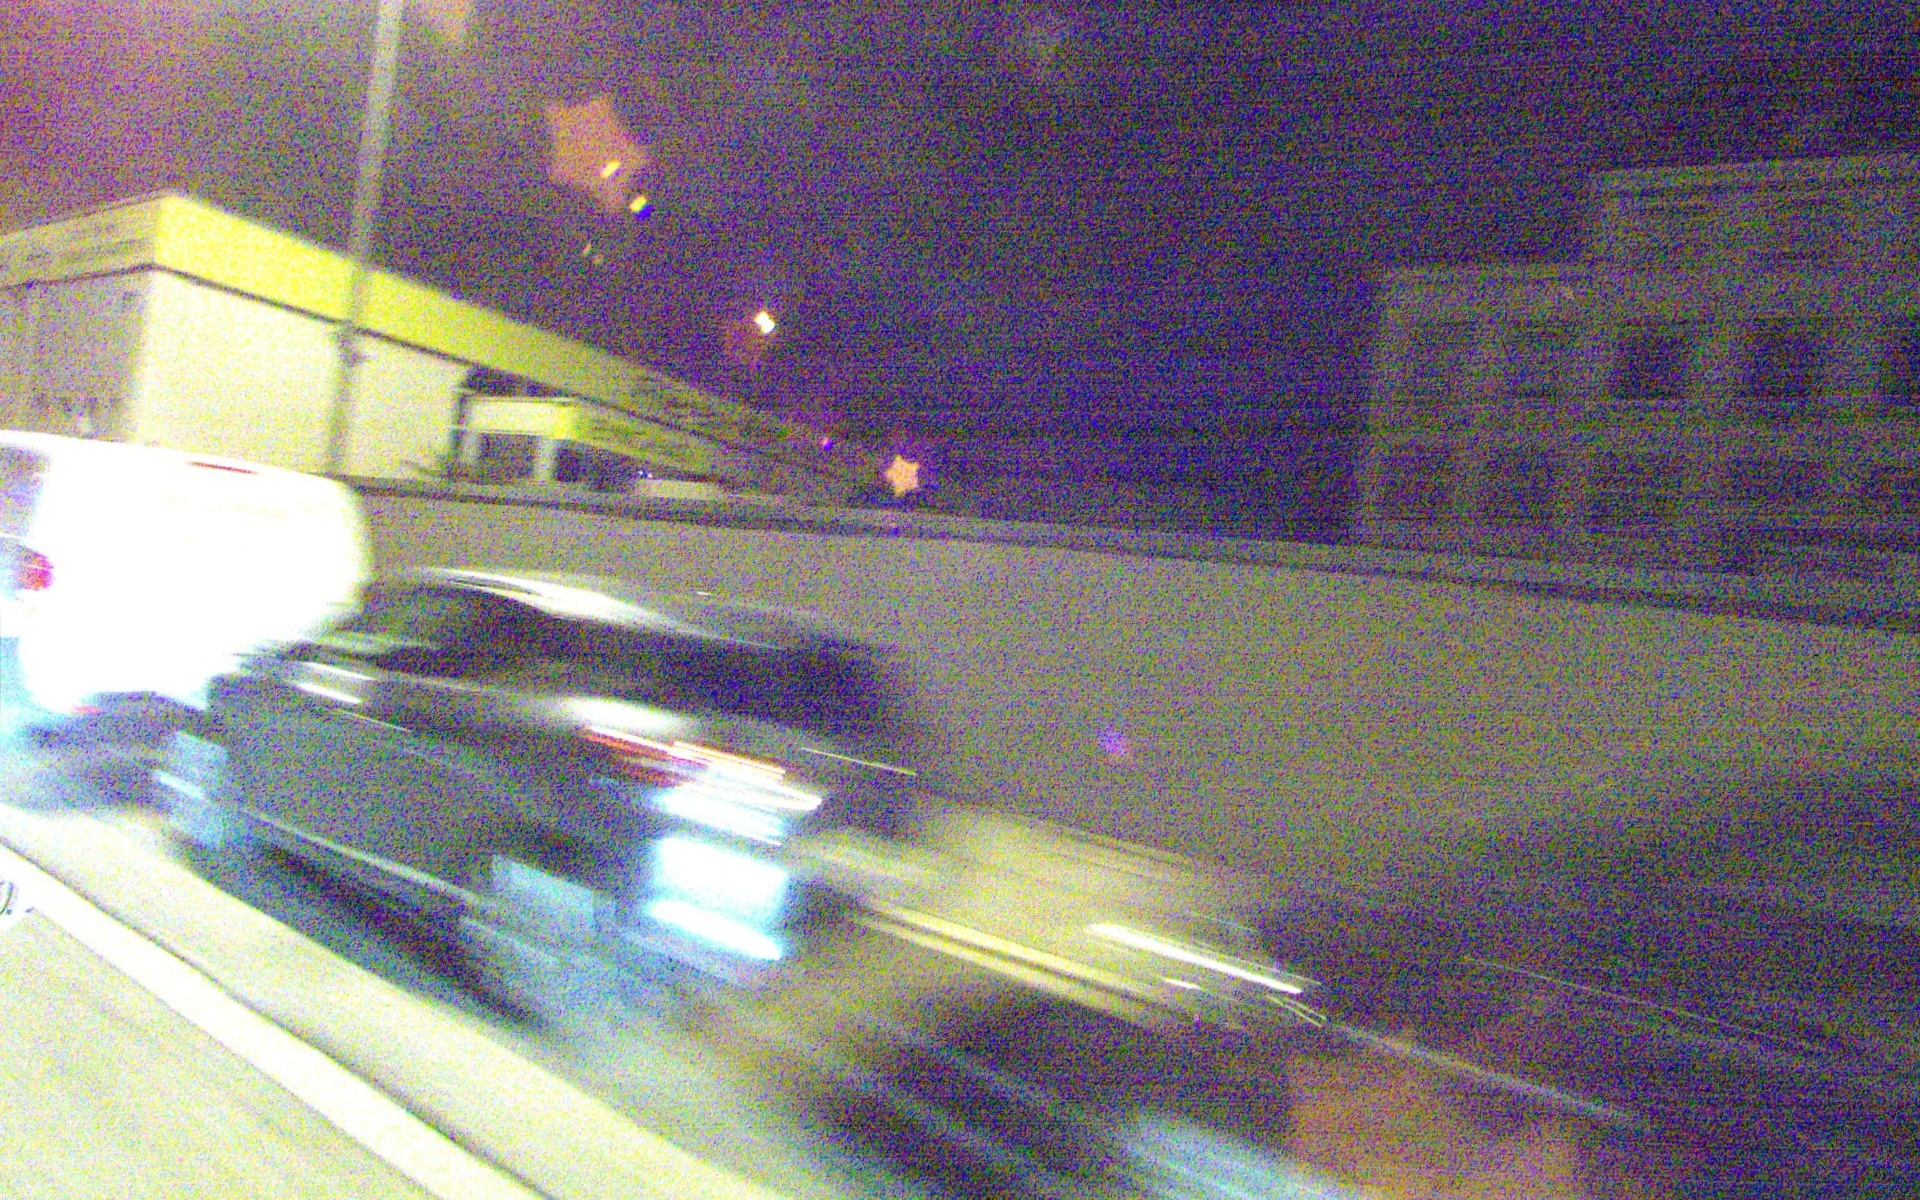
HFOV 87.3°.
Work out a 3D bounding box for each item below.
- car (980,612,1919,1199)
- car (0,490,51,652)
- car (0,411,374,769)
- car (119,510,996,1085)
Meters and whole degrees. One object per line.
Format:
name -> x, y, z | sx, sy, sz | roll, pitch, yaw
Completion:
car -> 2.072, 0.991, 2.108 | 3.658, 1.484, 1.597 | 6, -2, 32
car -> -10.624, -0.489, 9.704 | 4.122, 1.445, 1.817 | 6, 0, 35
car -> -6.537, -0.228, 7.293 | 4.693, 1.899, 1.802 | 7, 1, 31
car -> -1.955, 0.536, 4.521 | 3.828, 1.484, 1.597 | 6, -2, 32
